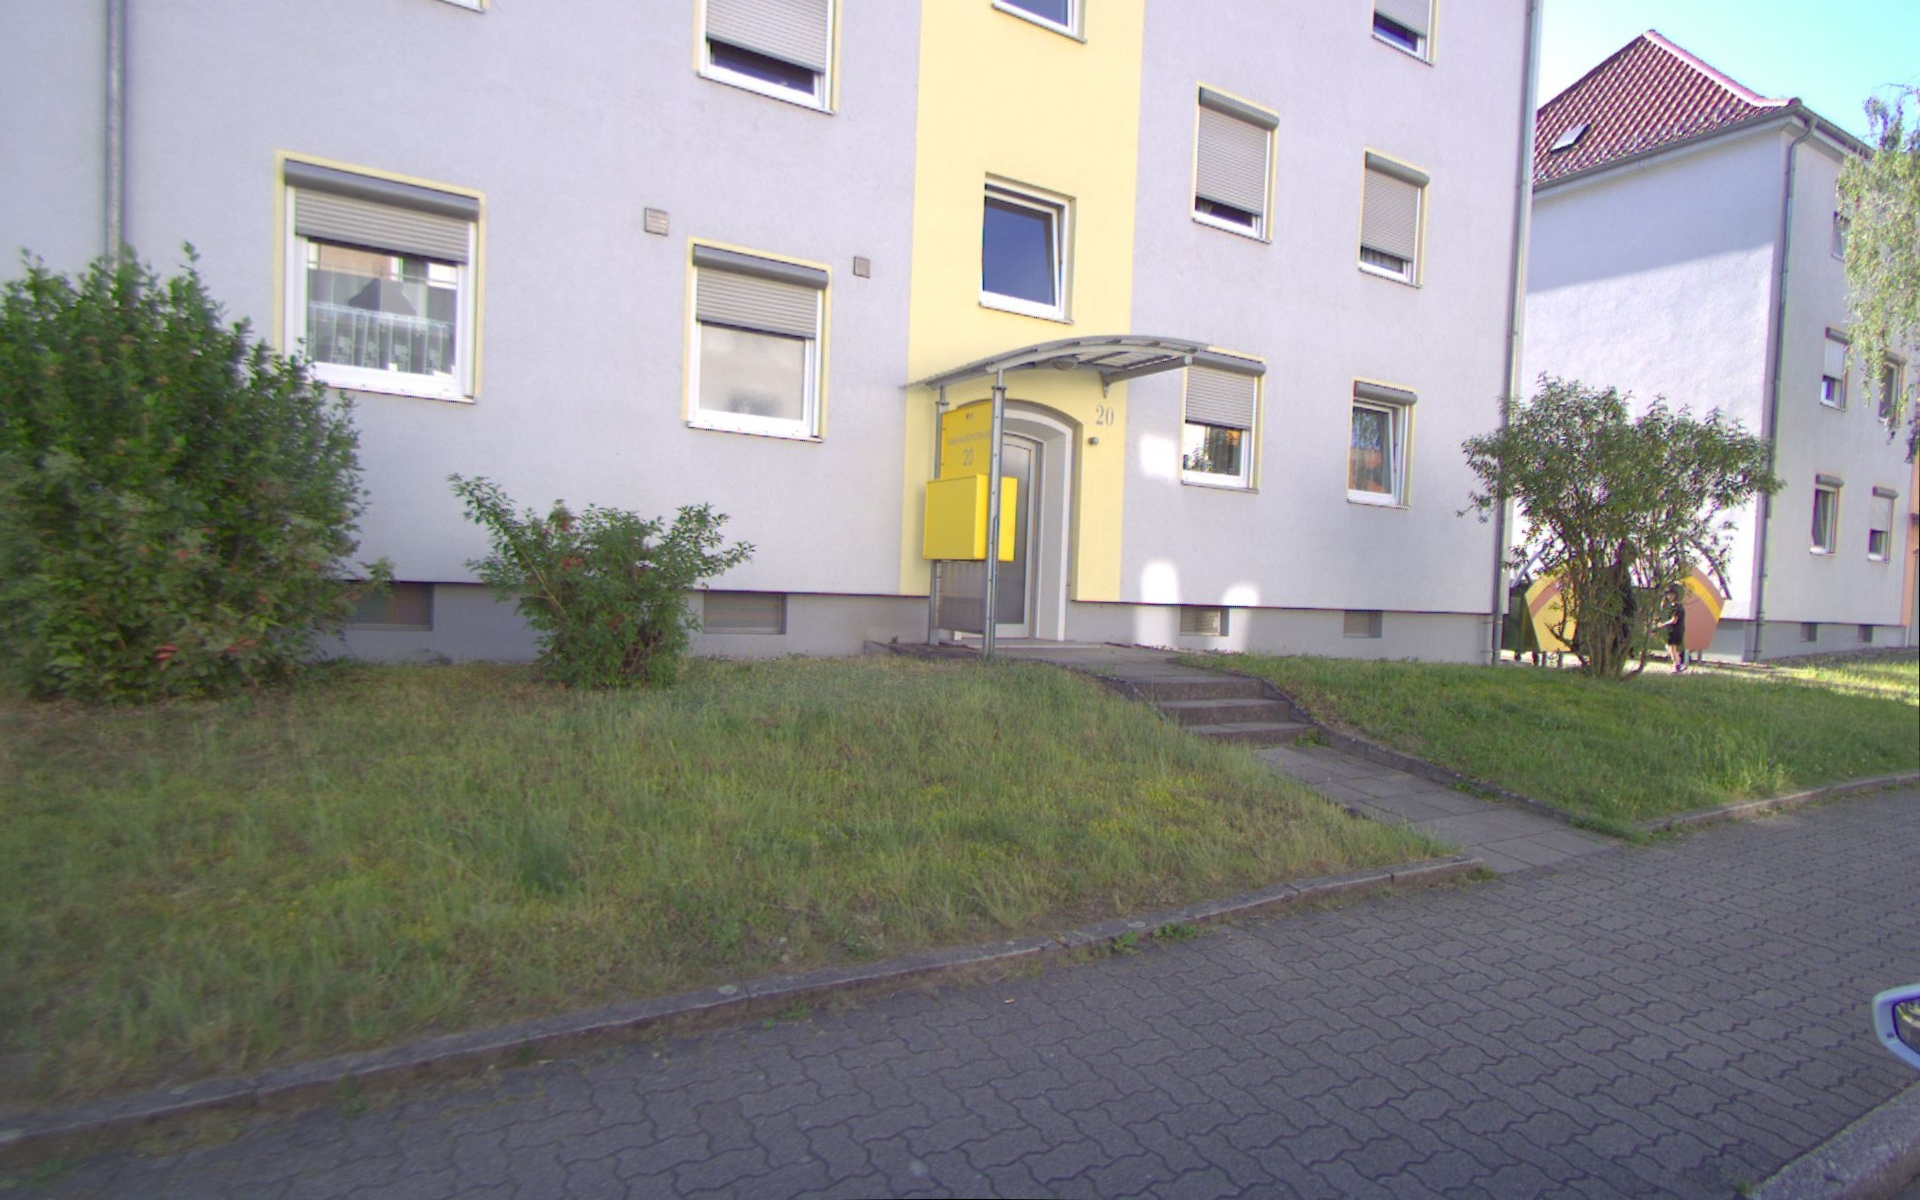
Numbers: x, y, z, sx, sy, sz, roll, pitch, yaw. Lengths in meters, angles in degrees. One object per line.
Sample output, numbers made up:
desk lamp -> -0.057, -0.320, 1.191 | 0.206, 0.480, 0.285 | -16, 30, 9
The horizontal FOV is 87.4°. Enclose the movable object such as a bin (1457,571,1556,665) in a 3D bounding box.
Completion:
movable object such as a bin -> 8.688, 0.266, 16.000 | 0.803, 1.425, 1.079 | 1, 2, -29

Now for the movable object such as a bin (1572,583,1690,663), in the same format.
movable object such as a bin -> 12.570, 0.416, 18.858 | 1.214, 1.354, 1.380 | 1, 4, -30

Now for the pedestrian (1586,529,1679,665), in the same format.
pedestrian -> 9.469, -0.046, 14.162 | 0.709, 1.848, 0.802 | 1, 1, -29

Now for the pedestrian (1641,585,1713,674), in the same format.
pedestrian -> 11.054, 0.442, 15.499 | 0.569, 1.335, 0.683 | 1, 1, -29
